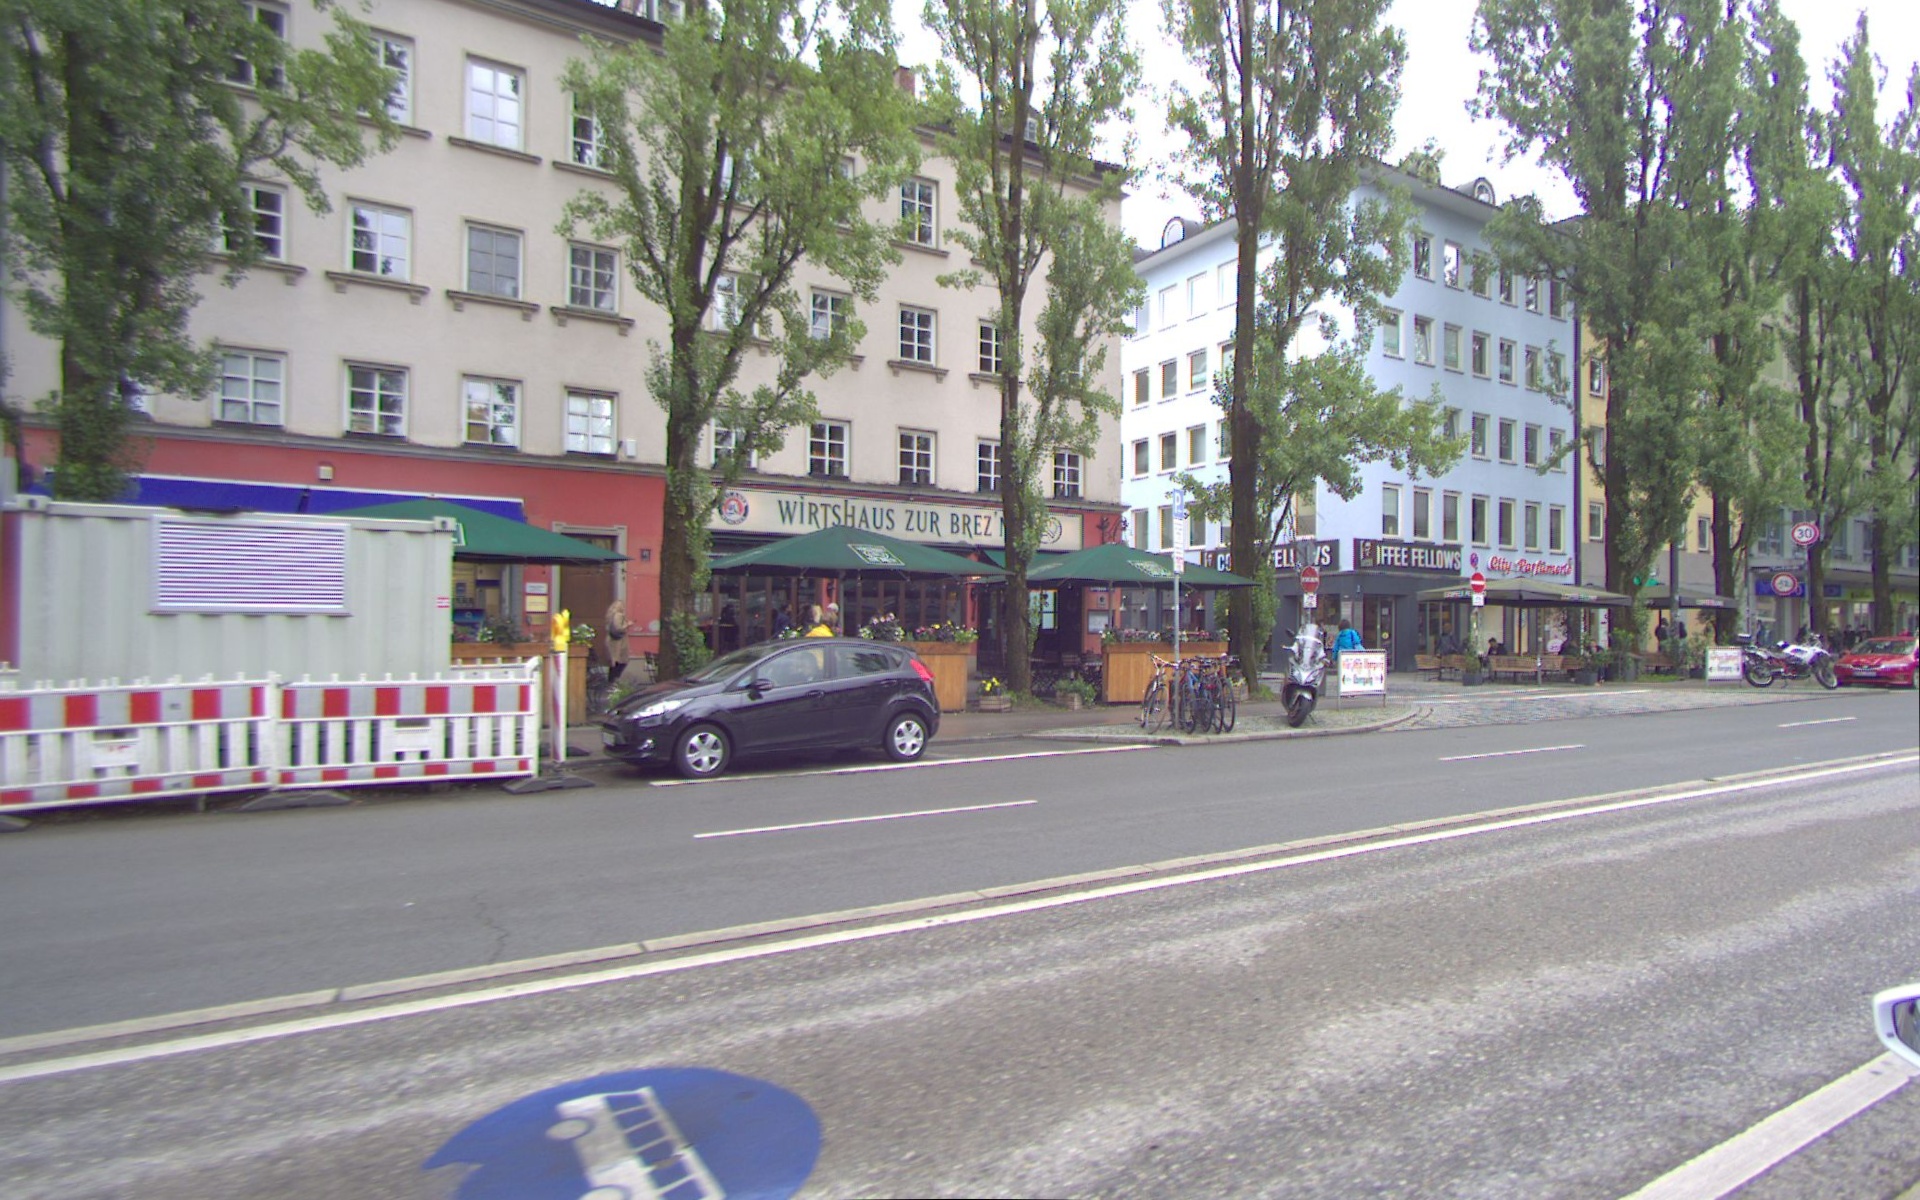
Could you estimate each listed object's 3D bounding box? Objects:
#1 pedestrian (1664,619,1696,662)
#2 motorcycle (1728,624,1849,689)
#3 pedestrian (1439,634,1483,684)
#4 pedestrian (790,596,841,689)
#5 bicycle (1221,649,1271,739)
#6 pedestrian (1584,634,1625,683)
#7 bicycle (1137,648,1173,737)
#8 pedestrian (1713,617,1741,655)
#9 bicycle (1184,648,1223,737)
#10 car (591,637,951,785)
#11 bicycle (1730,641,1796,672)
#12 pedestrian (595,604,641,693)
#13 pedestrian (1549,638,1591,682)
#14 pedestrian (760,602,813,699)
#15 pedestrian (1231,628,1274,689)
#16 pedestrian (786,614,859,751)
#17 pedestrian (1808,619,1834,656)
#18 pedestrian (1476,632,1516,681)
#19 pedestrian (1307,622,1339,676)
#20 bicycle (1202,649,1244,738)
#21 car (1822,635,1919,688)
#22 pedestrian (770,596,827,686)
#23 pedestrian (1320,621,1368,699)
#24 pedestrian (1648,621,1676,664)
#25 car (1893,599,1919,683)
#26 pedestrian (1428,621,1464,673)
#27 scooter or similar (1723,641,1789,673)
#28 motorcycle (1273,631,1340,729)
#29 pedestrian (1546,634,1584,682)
[{"bbox_3d":[28.219,1.592,39.365,0.713,1.657,0.699,0,-1,-6],"label":"pedestrian"},{"bbox_3d":[21.352,1.428,25.945,2.301,1.584,0.715,1,0,18],"label":"motorcycle"},{"bbox_3d":[14.232,1.665,28.536,0.938,1.380,0.695,1,-2,-28],"label":"pedestrian"},{"bbox_3d":[-3.114,0.915,21.651,0.894,1.952,0.695,1,-1,-28],"label":"pedestrian"},{"bbox_3d":[4.203,1.340,14.841,0.353,1.140,1.983,2,0,6],"label":"bicycle"},{"bbox_3d":[18.567,1.661,28.926,0.838,1.380,0.694,1,-2,-31],"label":"pedestrian"},{"bbox_3d":[2.859,1.318,14.796,0.335,1.140,1.983,2,0,6],"label":"bicycle"},{"bbox_3d":[33.232,1.561,43.523,0.718,1.657,0.695,1,-1,-28],"label":"pedestrian"},{"bbox_3d":[3.594,1.328,14.889,0.277,1.140,1.983,2,0,6],"label":"bicycle"},{"bbox_3d":[-2.133,1.156,11.642,3.745,1.441,1.745,1,-3,-34],"label":"car"},{"bbox_3d":[28.108,1.980,35.188,0.417,1.040,1.763,1,-2,-32],"label":"bicycle"},{"bbox_3d":[-6.488,0.911,19.071,0.723,1.645,0.695,1,-1,-28],"label":"pedestrian"},{"bbox_3d":[17.273,1.686,28.448,0.692,1.198,0.811,1,-2,-32],"label":"pedestrian"},{"bbox_3d":[-3.582,1.027,20.717,0.894,1.952,0.695,1,-1,-28],"label":"pedestrian"},{"bbox_3d":[8.232,1.633,28.311,0.916,1.669,0.696,0,-1,-25],"label":"pedestrian"},{"bbox_3d":[-1.817,1.062,13.258,0.724,1.749,0.694,1,-2,-33],"label":"pedestrian"},{"bbox_3d":[40.739,1.754,47.549,0.717,1.722,0.695,1,-1,-26],"label":"pedestrian"},{"bbox_3d":[15.592,1.635,29.222,0.808,1.380,0.695,1,-1,-28],"label":"pedestrian"},{"bbox_3d":[12.345,1.644,34.165,0.933,1.796,0.699,-1,-1,29],"label":"pedestrian"},{"bbox_3d":[3.870,1.337,14.857,0.277,1.140,1.983,2,0,6],"label":"bicycle"},{"bbox_3d":[26.880,1.735,29.027,4.100,1.438,1.729,1,-3,-31],"label":"car"},{"bbox_3d":[-3.214,0.813,19.972,0.938,1.745,0.695,1,-1,-28],"label":"pedestrian"},{"bbox_3d":[8.449,1.301,22.096,0.690,1.668,0.945,-1,-2,44],"label":"pedestrian"},{"bbox_3d":[27.607,1.655,39.497,0.553,1.657,0.699,0,-1,-6],"label":"pedestrian"},{"bbox_3d":[32.872,1.322,32.521,6.832,2.601,1.996,1,-3,-31],"label":"car"},{"bbox_3d":[16.340,1.569,33.781,0.775,1.708,0.753,1,-1,-27],"label":"pedestrian"},{"bbox_3d":[27.559,1.963,34.793,0.417,1.040,1.763,1,-2,-32],"label":"scooter or similar"},{"bbox_3d":[5.594,1.225,16.140,0.732,1.433,2.453,0,-2,26],"label":"motorcycle"},{"bbox_3d":[17.604,1.673,29.209,0.692,1.380,0.709,1,-2,-32],"label":"pedestrian"}]
